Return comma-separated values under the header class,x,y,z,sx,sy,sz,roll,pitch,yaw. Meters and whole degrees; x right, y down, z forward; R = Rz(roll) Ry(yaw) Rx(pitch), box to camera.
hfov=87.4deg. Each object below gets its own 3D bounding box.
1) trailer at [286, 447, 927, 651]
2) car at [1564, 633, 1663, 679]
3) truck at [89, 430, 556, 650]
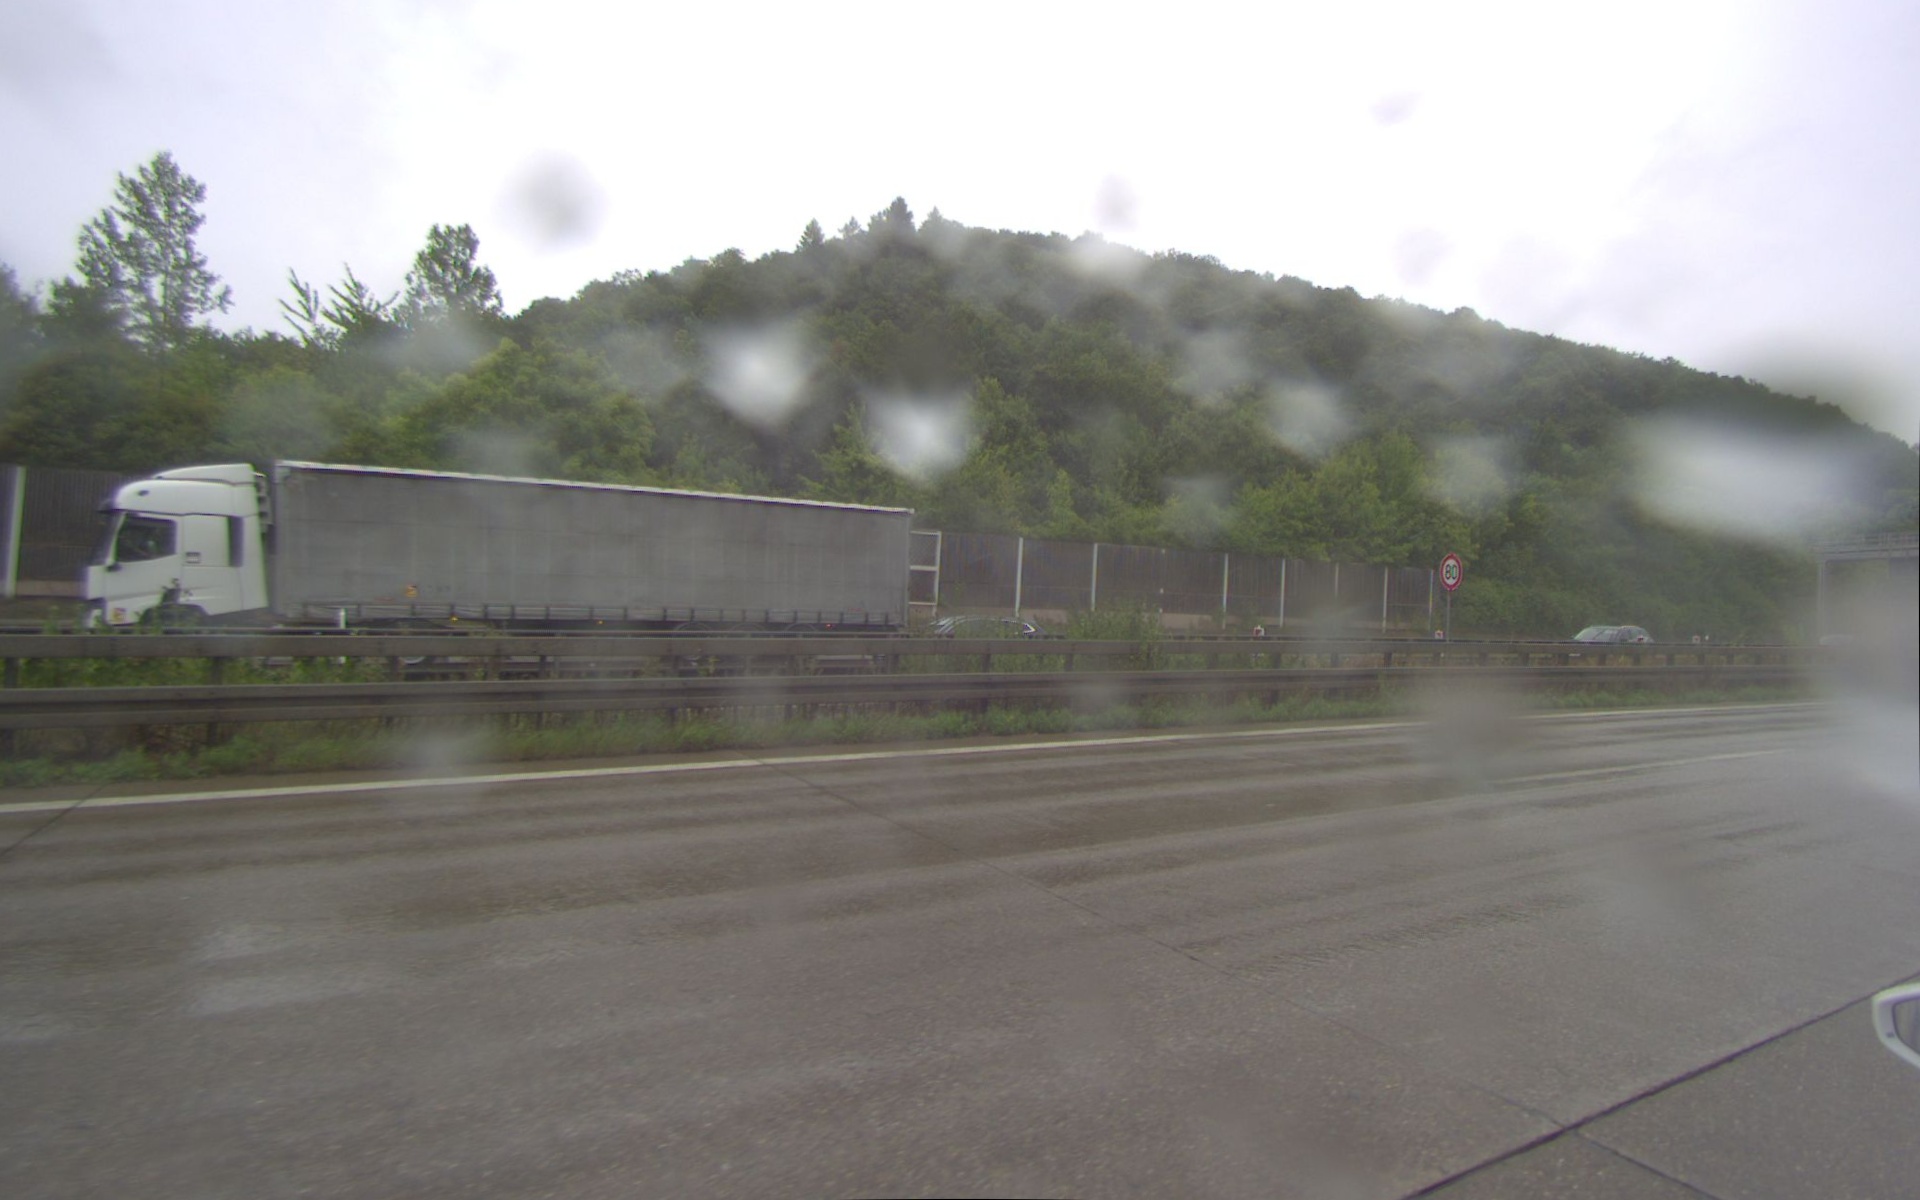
class,x,y,z,sx,sy,sz,roll,pitch,yaw
trailer,-7.464,-0.823,23.594,13.613,3.852,2.754,2,1,-30
car,25.678,2.155,39.436,3.957,1.684,1.787,2,-1,-33
truck,-12.576,-0.987,20.670,7.589,3.852,2.762,2,1,-30
